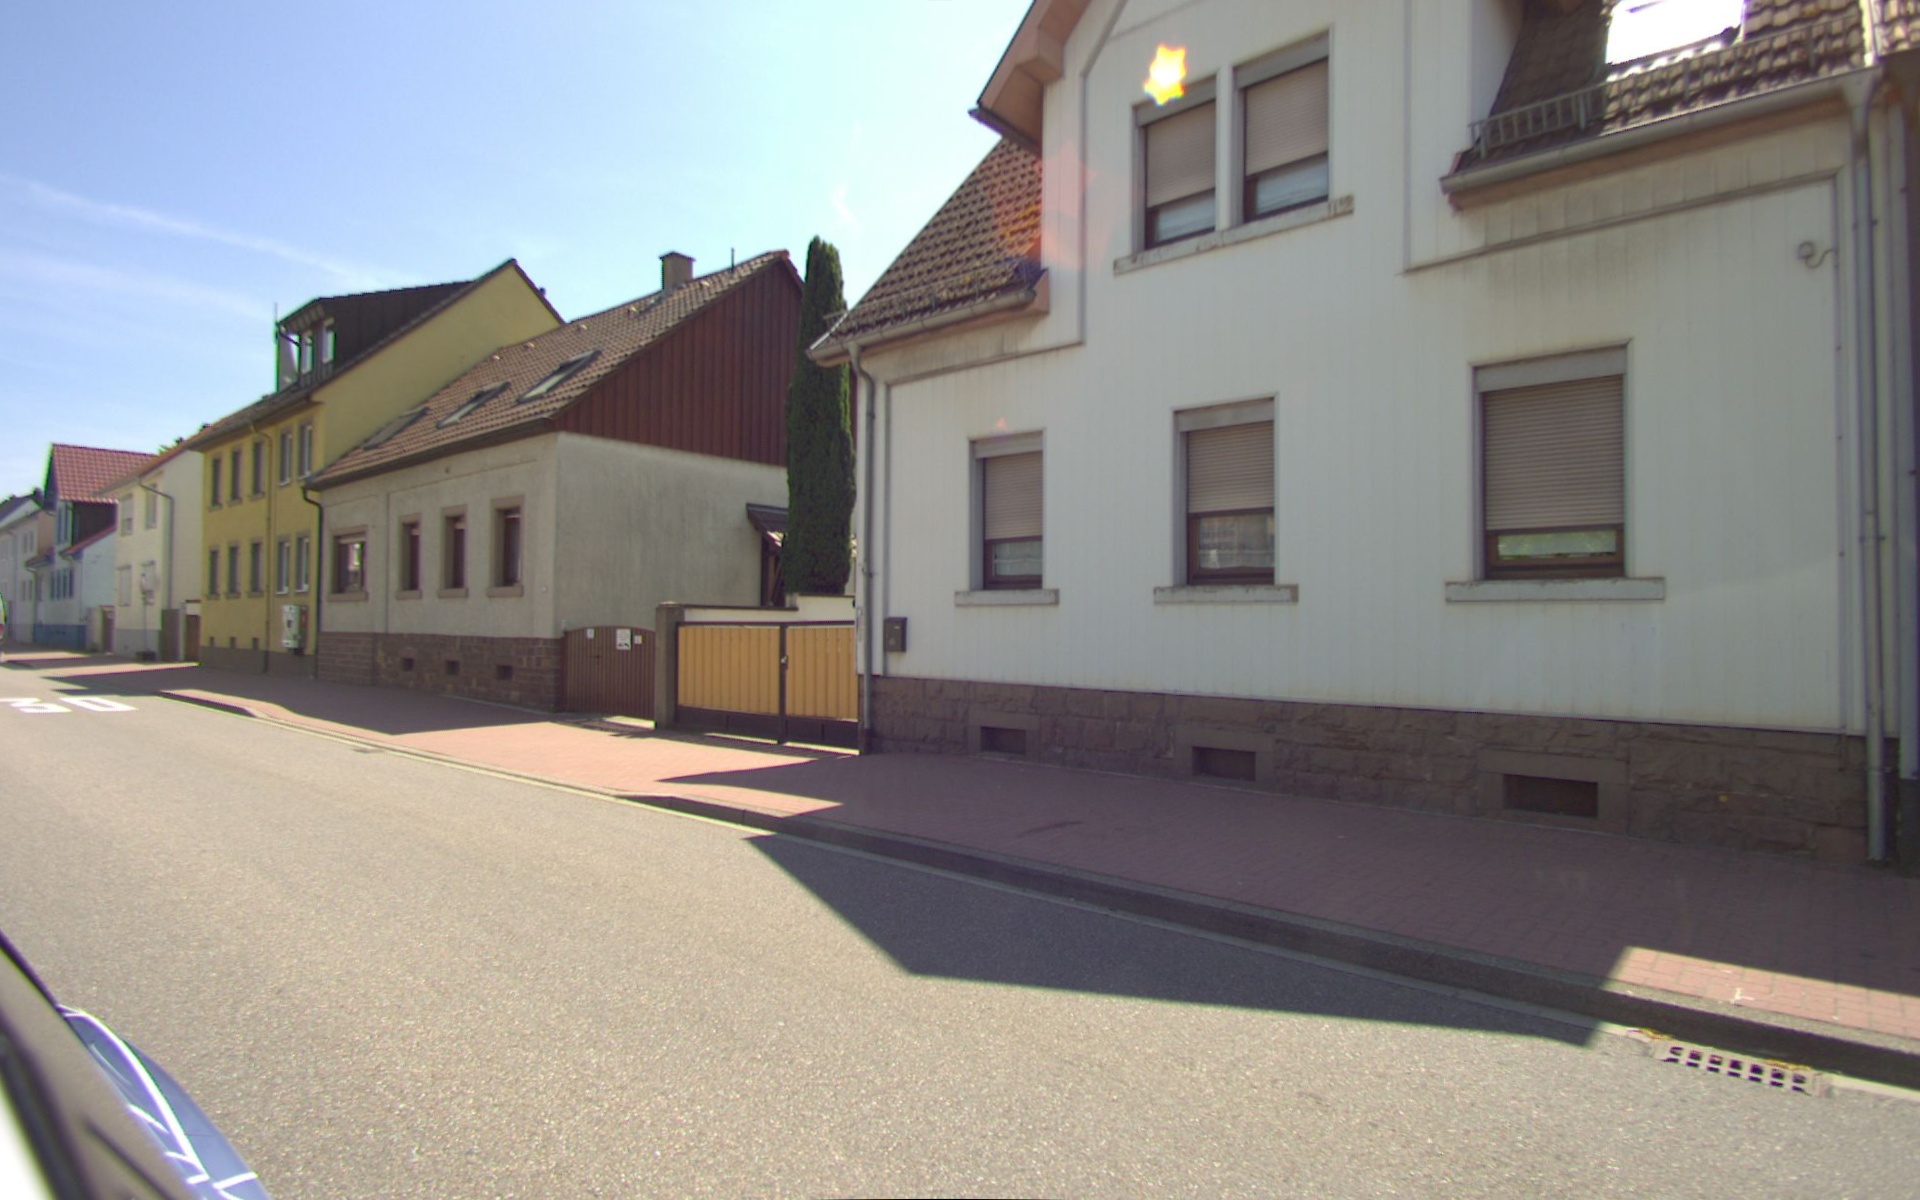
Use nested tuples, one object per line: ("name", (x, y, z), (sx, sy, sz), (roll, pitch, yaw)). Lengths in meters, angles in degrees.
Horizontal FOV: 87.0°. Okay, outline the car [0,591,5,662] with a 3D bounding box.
("car", (-32.910, 0.975, 32.880), (4.910, 2.552, 2.088), (-1, -4, 40))
